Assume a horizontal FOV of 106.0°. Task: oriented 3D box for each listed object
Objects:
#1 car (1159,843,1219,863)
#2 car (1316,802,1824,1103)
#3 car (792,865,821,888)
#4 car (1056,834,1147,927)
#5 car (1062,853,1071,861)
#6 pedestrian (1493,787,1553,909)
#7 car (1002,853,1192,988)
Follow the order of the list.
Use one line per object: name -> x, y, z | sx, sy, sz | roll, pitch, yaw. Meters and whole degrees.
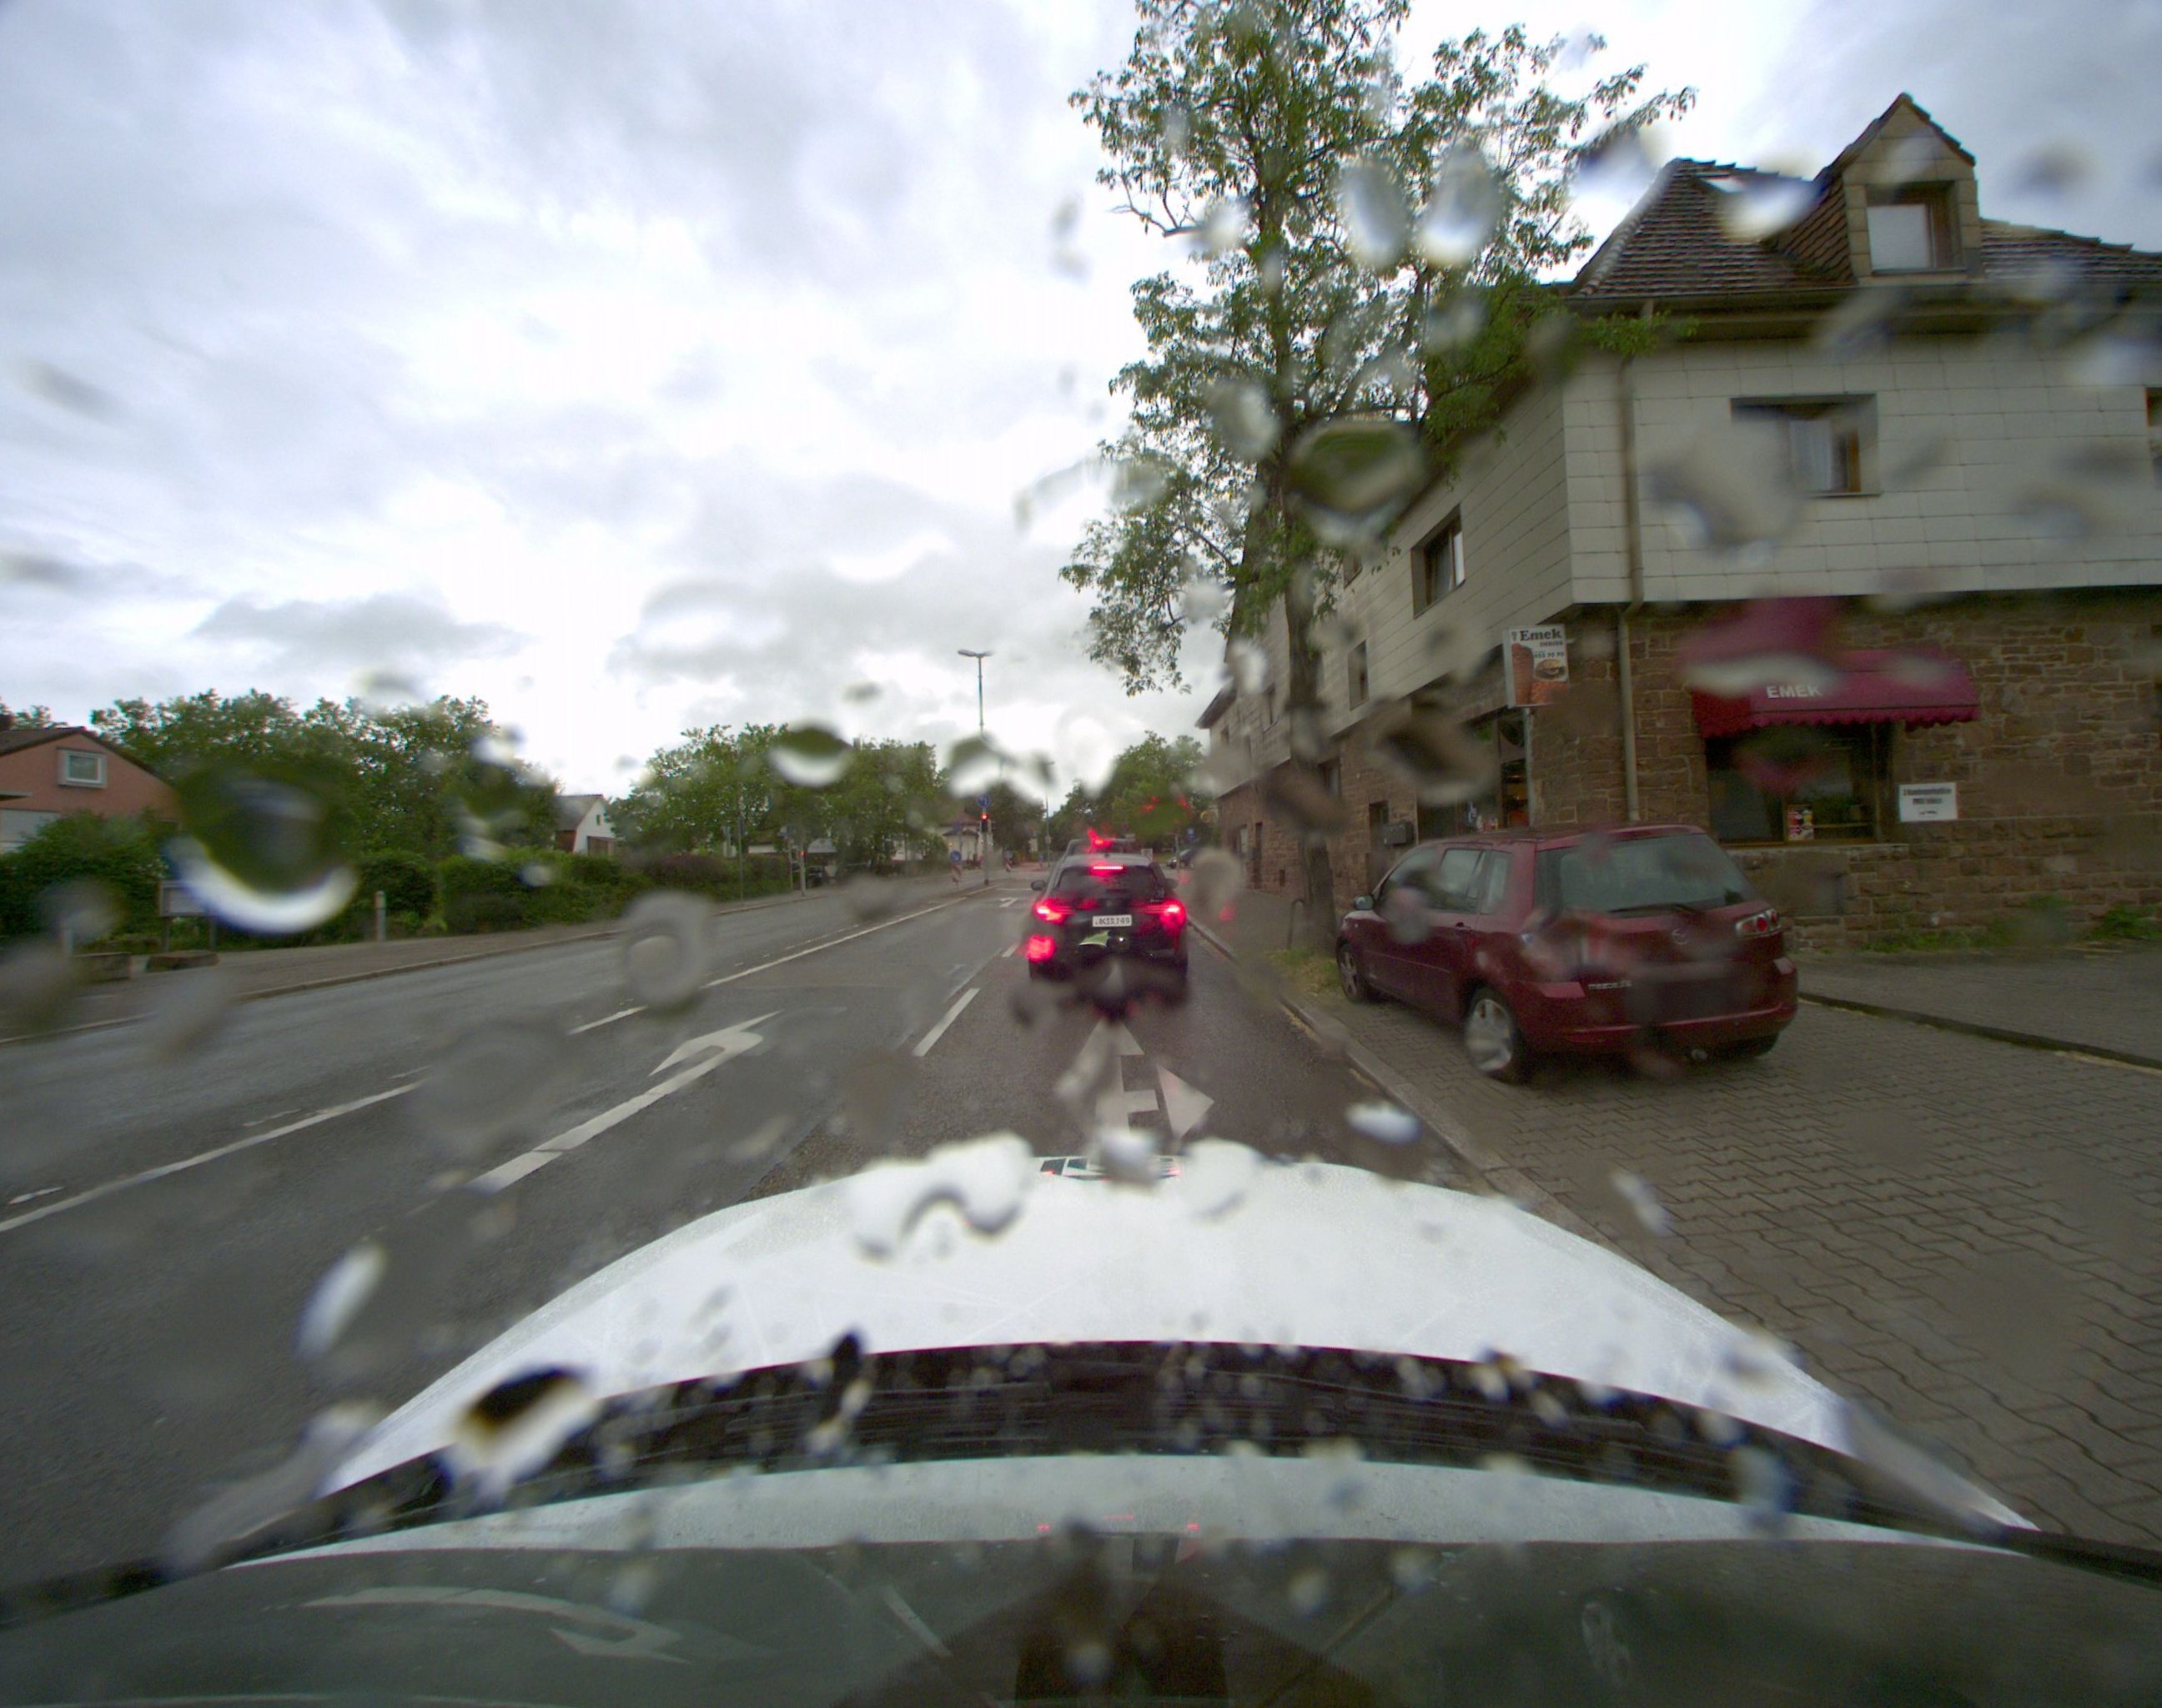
car -> 8.988, -0.071, 67.659 | 4.479, 1.587, 2.059 | -1, 0, -17
car -> 3.162, 0.506, 6.197 | 1.579, 1.490, 3.626 | -5, 1, -1
car -> -20.767, 1.649, 61.593 | 2.000, 1.552, 3.973 | -2, 0, -20
car -> 0.408, 0.519, 18.345 | 1.778, 1.817, 3.999 | -1, 0, 0
car -> -2.596, 0.593, 147.699 | 1.459, 1.398, 3.322 | -1, 0, 1
pedestrian -> 6.867, -0.093, 12.661 | 0.635, 1.839, 0.483 | -1, 0, 1
car -> 0.158, 0.725, 11.117 | 2.058, 1.446, 4.481 | -1, 0, -1
